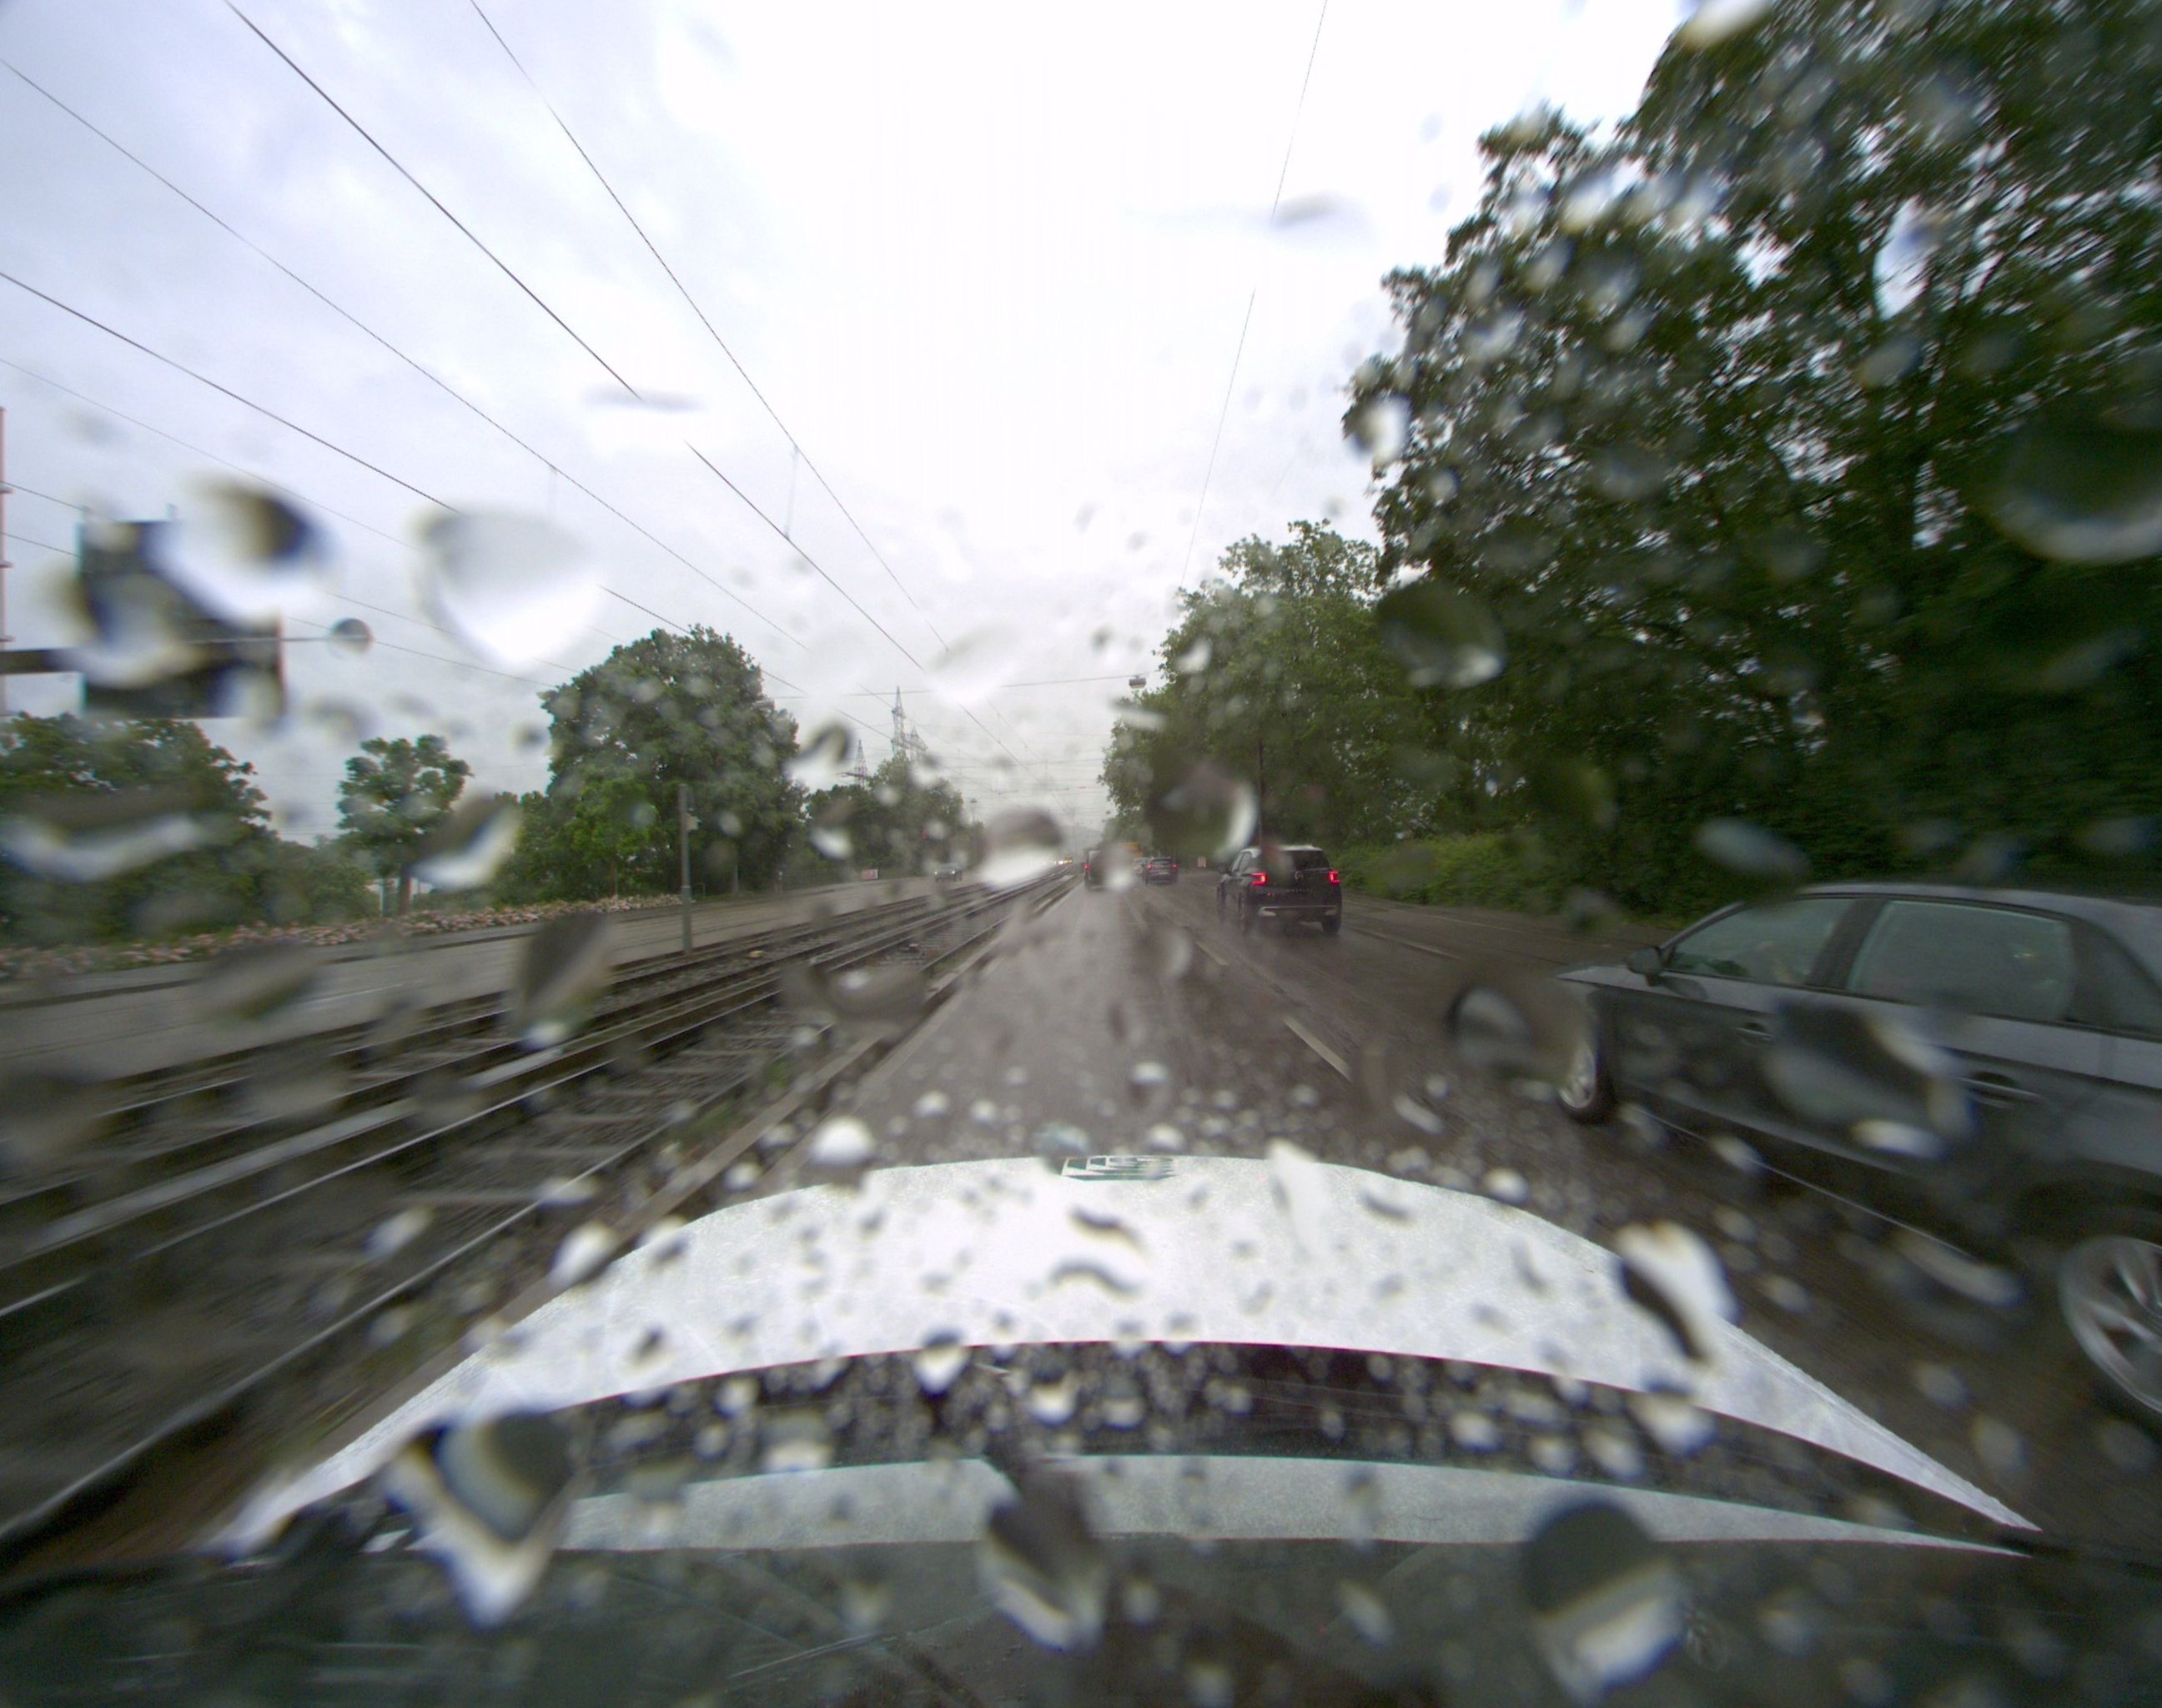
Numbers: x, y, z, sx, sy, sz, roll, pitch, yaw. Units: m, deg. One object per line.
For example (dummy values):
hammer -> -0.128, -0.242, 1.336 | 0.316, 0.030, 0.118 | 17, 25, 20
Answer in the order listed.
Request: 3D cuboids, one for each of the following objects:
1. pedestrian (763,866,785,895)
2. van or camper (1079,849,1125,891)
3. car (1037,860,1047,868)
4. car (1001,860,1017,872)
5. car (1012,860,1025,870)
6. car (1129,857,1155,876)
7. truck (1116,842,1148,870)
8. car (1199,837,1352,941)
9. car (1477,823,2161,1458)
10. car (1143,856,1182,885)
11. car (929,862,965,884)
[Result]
pedestrian -> -19.221, 1.634, 50.944 | 0.848, 1.759, 1.121 | -3, 0, 1
van or camper -> 0.925, 0.692, 37.967 | 1.988, 1.784, 3.998 | 0, 1, -1
car -> -7.842, 2.059, 163.868 | 1.650, 1.486, 4.015 | -2, 0, 3
car -> -11.368, 1.859, 128.499 | 1.987, 1.816, 4.659 | -2, 0, 1
car -> -12.202, 2.087, 159.877 | 1.985, 1.816, 4.003 | -2, 0, 3
car -> 4.753, 0.957, 63.938 | 1.811, 1.414, 3.780 | -1, 1, 2
truck -> 5.298, 0.177, 85.746 | 3.102, 2.773, 6.330 | -1, 0, 1
car -> 3.635, 0.565, 16.145 | 1.893, 1.716, 4.725 | -1, 1, 0
car -> 3.595, 0.659, 3.431 | 1.961, 1.528, 3.991 | -1, 1, 1
car -> 4.387, 0.877, 44.290 | 1.811, 1.414, 3.780 | -1, 1, 2
car -> -10.924, 1.514, 66.874 | 1.985, 1.618, 4.257 | -2, 0, 3
